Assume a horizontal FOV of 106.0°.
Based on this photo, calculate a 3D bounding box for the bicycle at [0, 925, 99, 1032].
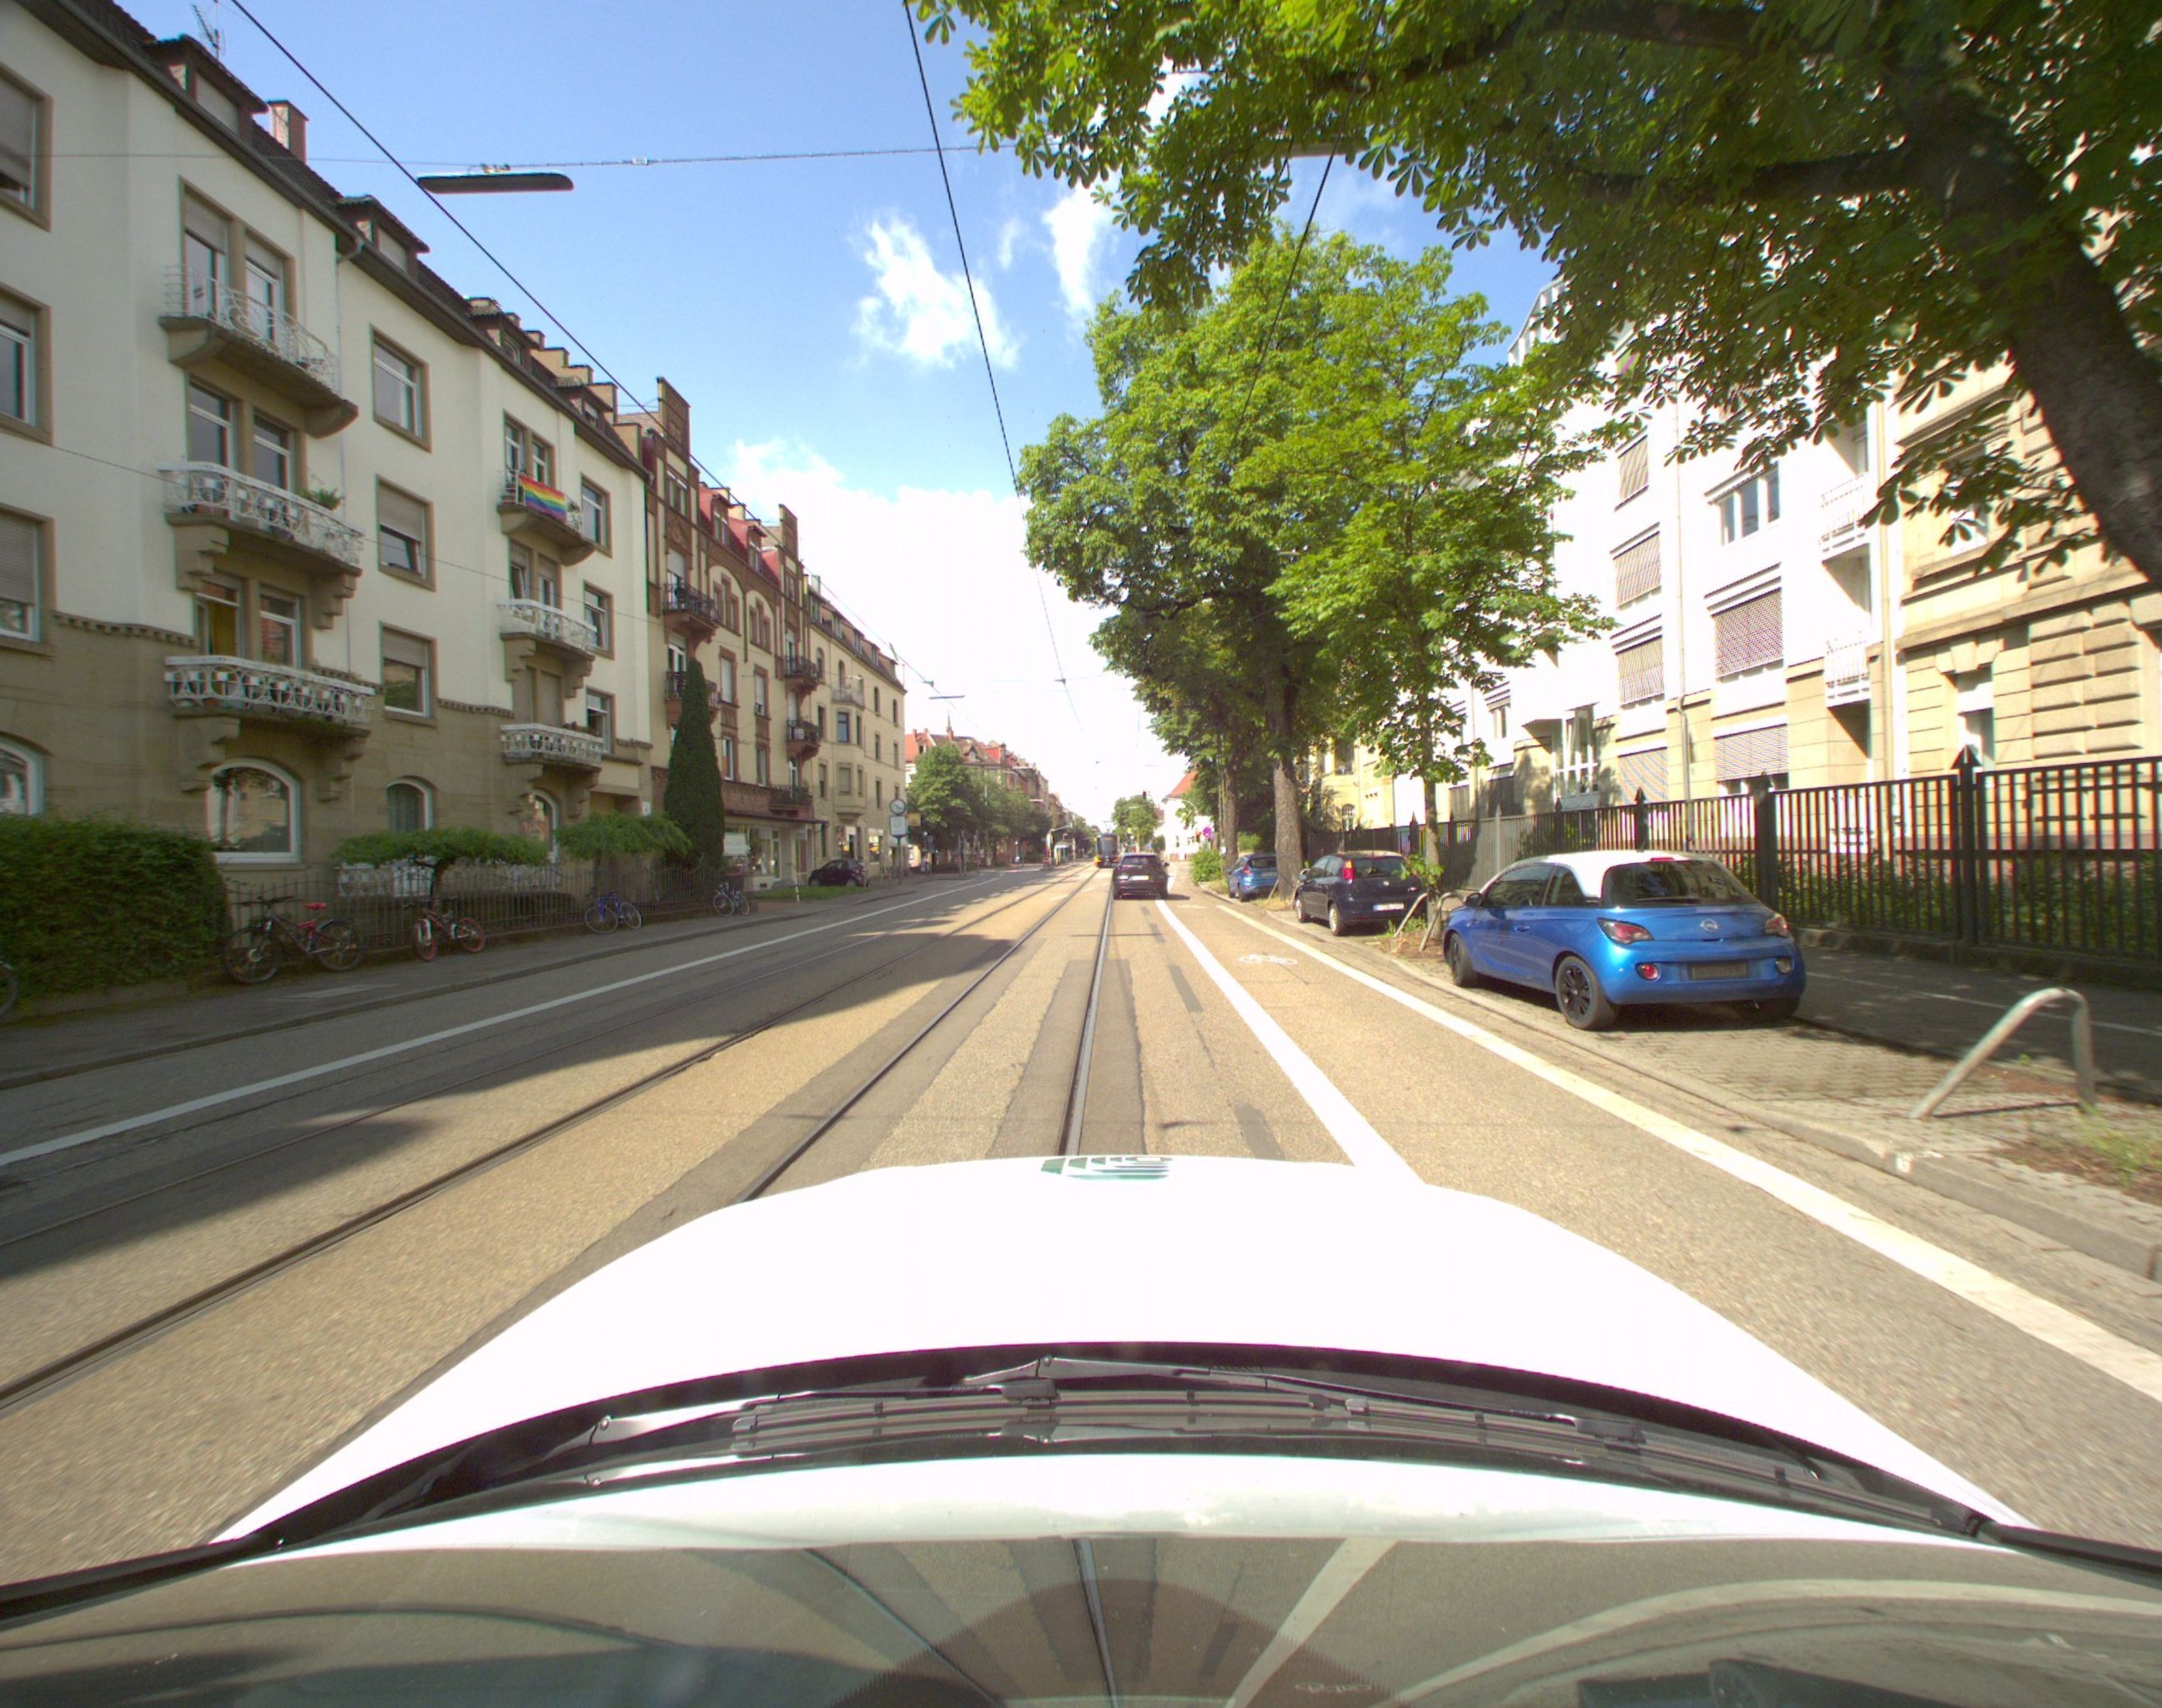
[{"bbox_3d":[-10.608,1.232,7.683,0.449,0.959,1.802,0,0,2],"label":"bicycle"}]

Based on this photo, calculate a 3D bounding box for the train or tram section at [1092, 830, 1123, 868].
[{"bbox_3d":[2.620,-0.472,83.760,2.644,3.527,8.493,-3,0,-1],"label":"train or tram section"}]

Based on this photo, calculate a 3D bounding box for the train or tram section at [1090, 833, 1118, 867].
[{"bbox_3d":[2.555,-0.424,92.270,2.644,3.527,8.493,-3,0,-1],"label":"train or tram section"}]

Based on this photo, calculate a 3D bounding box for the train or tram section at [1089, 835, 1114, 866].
[{"bbox_3d":[2.487,-0.370,100.780,2.644,3.527,8.493,-3,0,-1],"label":"train or tram section"}]

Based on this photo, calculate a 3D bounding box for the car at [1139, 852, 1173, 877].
[{"bbox_3d":[4.933,0.638,53.907,1.779,1.492,4.882,-2,0,0],"label":"car"}]

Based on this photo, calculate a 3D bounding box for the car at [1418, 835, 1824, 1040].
[{"bbox_3d":[4.943,0.646,8.137,1.634,1.496,3.627,-3,0,1],"label":"car"}]

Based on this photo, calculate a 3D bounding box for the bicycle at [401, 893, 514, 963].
[{"bbox_3d":[-10.311,1.194,13.542,0.381,0.975,1.803,0,0,4],"label":"bicycle"}]

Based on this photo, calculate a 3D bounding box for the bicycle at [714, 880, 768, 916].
[{"bbox_3d":[-9.777,1.253,23.499,0.508,0.959,1.819,1,-1,9],"label":"bicycle"}]

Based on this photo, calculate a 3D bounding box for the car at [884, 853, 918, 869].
[{"bbox_3d":[-25.772,0.986,116.596,4.092,2.013,2.007,-5,-1,12],"label":"car"}]

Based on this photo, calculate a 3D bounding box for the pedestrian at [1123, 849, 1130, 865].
[{"bbox_3d":[4.787,0.337,85.928,0.665,1.605,0.700,-2,0,1],"label":"pedestrian"}]

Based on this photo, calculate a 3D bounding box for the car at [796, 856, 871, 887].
[{"bbox_3d":[-12.495,0.891,41.246,3.220,1.513,1.681,0,0,5],"label":"car"}]

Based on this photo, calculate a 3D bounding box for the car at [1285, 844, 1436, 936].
[{"bbox_3d":[5.311,0.616,16.000,1.634,1.496,3.758,-3,0,0],"label":"car"}]

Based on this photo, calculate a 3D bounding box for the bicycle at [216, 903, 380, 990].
[{"bbox_3d":[-10.547,1.209,11.063,0.381,0.959,1.803,0,0,4],"label":"bicycle"}]

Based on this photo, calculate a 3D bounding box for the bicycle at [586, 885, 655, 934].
[{"bbox_3d":[-10.107,1.197,17.940,0.424,0.959,1.707,0,0,4],"label":"bicycle"}]

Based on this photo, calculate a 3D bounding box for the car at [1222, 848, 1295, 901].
[{"bbox_3d":[5.684,0.627,26.488,1.617,1.496,3.850,-4,0,2],"label":"car"}]

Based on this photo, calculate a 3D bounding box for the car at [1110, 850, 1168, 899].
[{"bbox_3d":[1.897,0.645,27.808,1.783,1.512,4.352,-1,0,1],"label":"car"}]
